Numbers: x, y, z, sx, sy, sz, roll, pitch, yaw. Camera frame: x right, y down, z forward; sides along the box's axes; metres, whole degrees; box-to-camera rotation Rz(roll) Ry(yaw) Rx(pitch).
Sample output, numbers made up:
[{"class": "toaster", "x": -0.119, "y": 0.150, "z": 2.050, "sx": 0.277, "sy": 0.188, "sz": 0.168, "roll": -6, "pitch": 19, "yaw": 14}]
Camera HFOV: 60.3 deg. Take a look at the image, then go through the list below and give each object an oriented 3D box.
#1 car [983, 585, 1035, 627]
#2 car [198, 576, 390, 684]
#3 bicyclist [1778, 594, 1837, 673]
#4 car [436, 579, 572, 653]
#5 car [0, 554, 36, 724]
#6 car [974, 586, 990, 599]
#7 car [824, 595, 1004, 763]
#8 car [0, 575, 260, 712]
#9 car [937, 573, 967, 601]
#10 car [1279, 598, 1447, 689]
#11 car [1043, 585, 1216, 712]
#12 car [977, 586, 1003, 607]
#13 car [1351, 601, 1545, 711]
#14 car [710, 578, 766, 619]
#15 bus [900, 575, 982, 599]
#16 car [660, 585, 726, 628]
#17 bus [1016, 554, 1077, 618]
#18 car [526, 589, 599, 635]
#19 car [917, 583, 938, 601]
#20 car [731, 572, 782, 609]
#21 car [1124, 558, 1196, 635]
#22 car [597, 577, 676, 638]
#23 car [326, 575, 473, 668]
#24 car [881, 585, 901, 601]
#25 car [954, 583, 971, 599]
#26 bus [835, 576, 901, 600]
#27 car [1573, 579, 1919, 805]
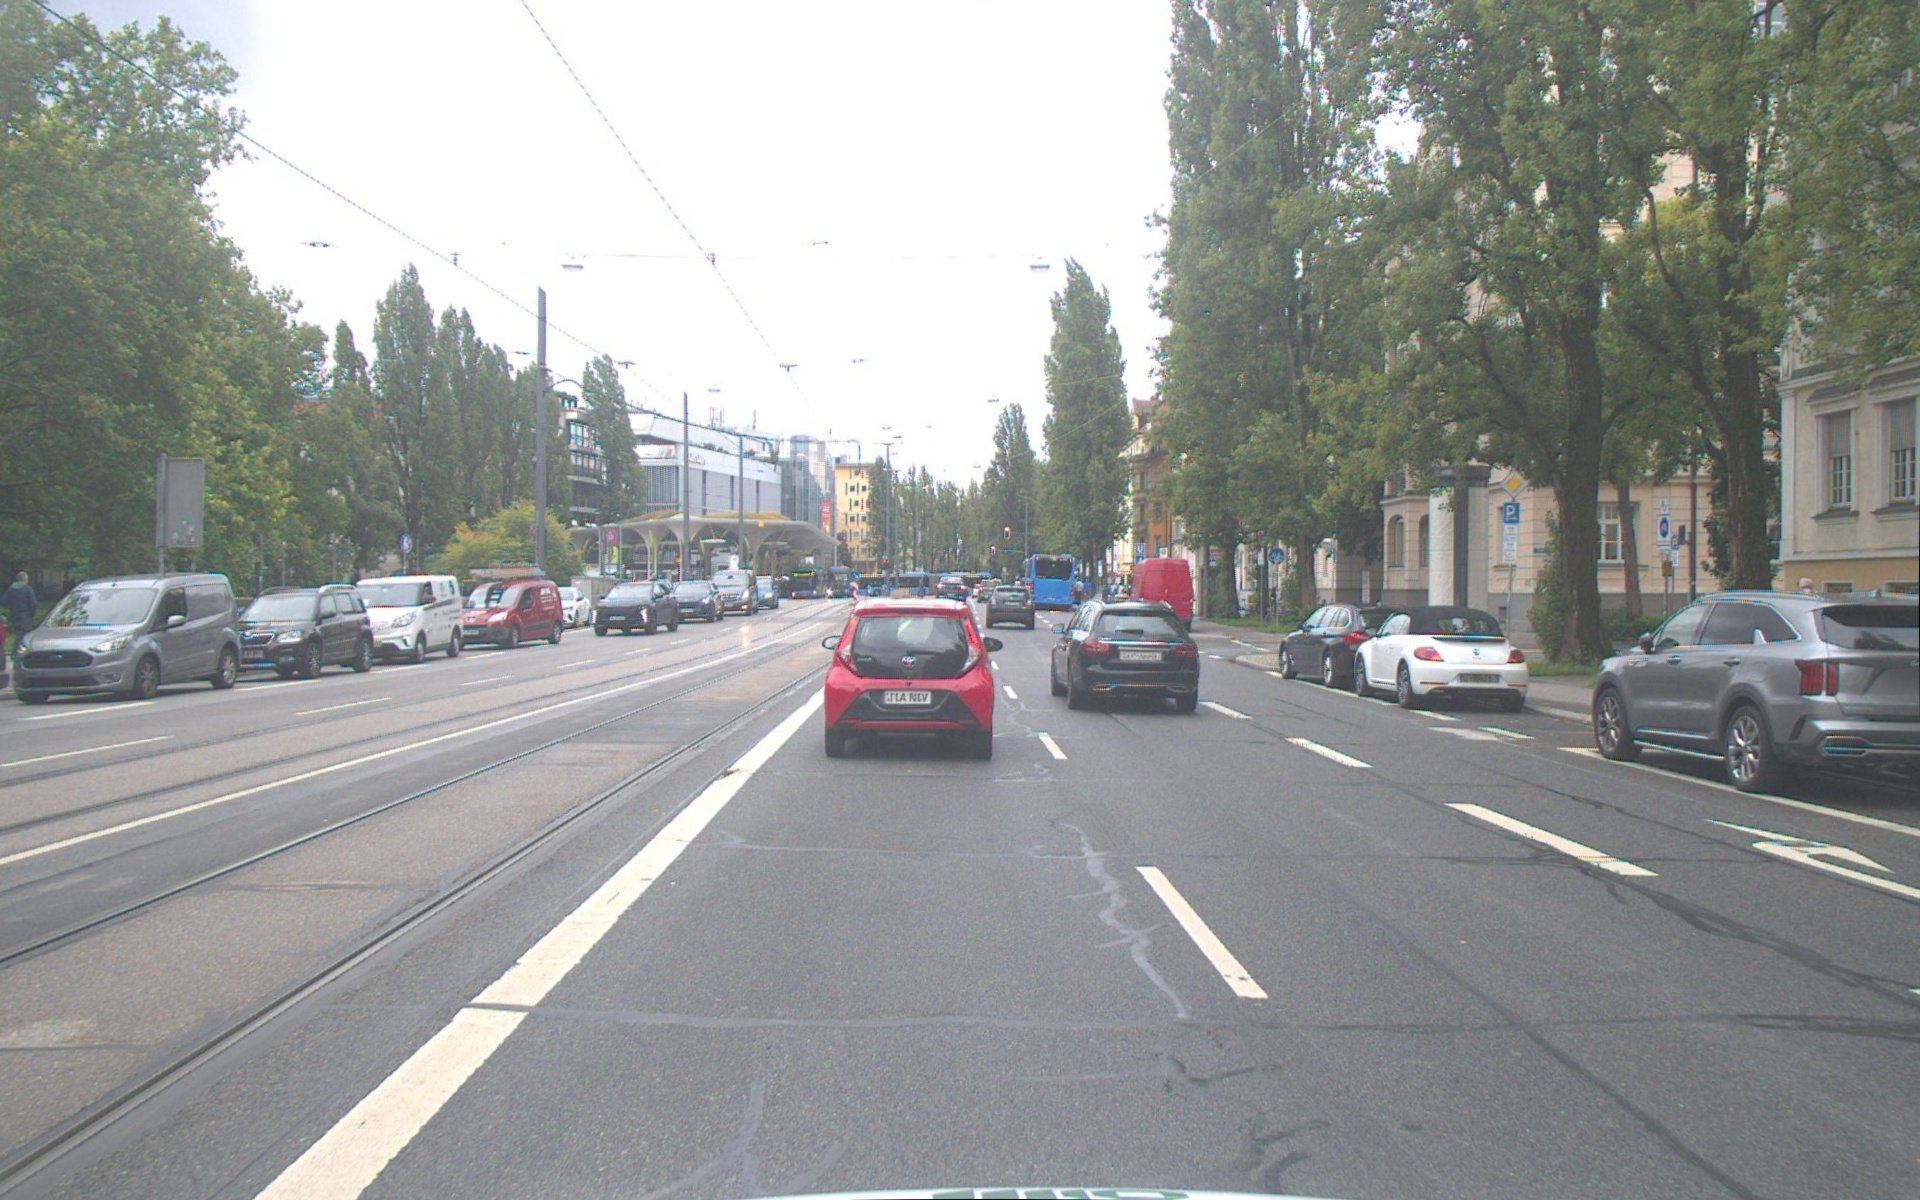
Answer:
[{"class": "car", "x": 1.768, "y": 0.203, "z": 60.864, "sx": 1.744, "sy": 1.512, "sz": 3.999, "roll": 0, "pitch": 0, "yaw": -1}, {"class": "car", "x": -12.342, "y": 0.517, "z": 30.979, "sx": 1.763, "sy": 1.819, "sz": 4.518, "roll": -2, "pitch": 0, "yaw": -1}, {"class": "bicyclist", "x": 14.717, "y": 0.576, "z": 28.738, "sx": 0.647, "sy": 1.337, "sz": 0.705, "roll": 0, "pitch": 0, "yaw": -3}, {"class": "car", "x": -12.118, "y": 0.383, "z": 44.262, "sx": 1.761, "sy": 1.819, "sz": 4.523, "roll": -2, "pitch": 0, "yaw": 9}, {"class": "car", "x": -12.277, "y": 0.479, "z": 17.898, "sx": 1.763, "sy": 2.025, "sz": 5.038, "roll": -1, "pitch": 0, "yaw": -1}, {"class": "car", "x": 2.519, "y": -0.890, "z": 191.211, "sx": 1.744, "sy": 1.512, "sz": 3.999, "roll": 0, "pitch": 0, "yaw": -1}, {"class": "car", "x": -0.506, "y": 0.710, "z": 16.577, "sx": 1.596, "sy": 1.465, "sz": 3.374, "roll": 1, "pitch": 0, "yaw": -3}, {"class": "car", "x": -12.450, "y": 0.592, "z": 25.062, "sx": 1.763, "sy": 1.819, "sz": 4.518, "roll": -2, "pitch": 0, "yaw": -1}, {"class": "car", "x": -0.493, "y": -0.771, "z": 98.800, "sx": 1.700, "sy": 1.576, "sz": 4.575, "roll": 0, "pitch": 0, "yaw": -1}, {"class": "car", "x": 7.316, "y": 0.743, "z": 30.506, "sx": 1.764, "sy": 1.534, "sz": 4.447, "roll": 0, "pitch": 0, "yaw": -4}, {"class": "car", "x": 2.307, "y": 0.608, "z": 23.721, "sx": 1.826, "sy": 1.576, "sz": 4.702, "roll": 0, "pitch": 1, "yaw": -2}, {"class": "car", "x": 2.116, "y": -0.266, "z": 118.275, "sx": 1.744, "sy": 1.512, "sz": 3.999, "roll": 0, "pitch": 0, "yaw": -1}, {"class": "car", "x": 7.390, "y": 0.793, "z": 25.427, "sx": 1.763, "sy": 1.534, "sz": 3.999, "roll": 0, "pitch": 0, "yaw": -1}, {"class": "car", "x": -9.616, "y": -0.073, "z": 71.947, "sx": 1.762, "sy": 1.694, "sz": 4.519, "roll": -2, "pitch": 0, "yaw": 0}, {"class": "bus", "x": -2.406, "y": -1.664, "z": 211.548, "sx": 10.348, "sy": 2.895, "sz": 1.999, "roll": 0, "pitch": 2, "yaw": -5}, {"class": "car", "x": -10.278, "y": 0.228, "z": 64.037, "sx": 1.762, "sy": 1.557, "sz": 4.519, "roll": -2, "pitch": 0, "yaw": 0}, {"class": "bus", "x": 4.992, "y": -0.922, "z": 97.477, "sx": 2.847, "sy": 3.455, "sz": 10.806, "roll": 1, "pitch": 2, "yaw": -1}, {"class": "car", "x": -14.419, "y": 0.402, "z": 60.220, "sx": 1.764, "sy": 1.557, "sz": 4.516, "roll": -2, "pitch": 0, "yaw": -3}, {"class": "car", "x": -2.750, "y": -0.666, "z": 140.425, "sx": 1.744, "sy": 1.512, "sz": 3.999, "roll": 0, "pitch": 0, "yaw": -1}, {"class": "car", "x": -10.046, "y": -0.464, "z": 81.986, "sx": 1.762, "sy": 1.694, "sz": 4.520, "roll": -2, "pitch": 0, "yaw": 2}, {"class": "car", "x": 7.225, "y": -0.173, "z": 60.203, "sx": 1.953, "sy": 2.619, "sz": 4.680, "roll": 1, "pitch": 2, "yaw": -1}, {"class": "car", "x": -10.305, "y": 0.220, "z": 52.938, "sx": 1.763, "sy": 1.819, "sz": 4.517, "roll": -2, "pitch": 0, "yaw": -2}, {"class": "car", "x": -12.487, "y": 0.449, "z": 37.166, "sx": 1.763, "sy": 1.894, "sz": 4.629, "roll": -2, "pitch": 0, "yaw": -1}, {"class": "car", "x": -6.415, "y": -0.643, "z": 154.594, "sx": 1.744, "sy": 1.512, "sz": 3.999, "roll": 0, "pitch": 0, "yaw": -1}, {"class": "car", "x": 0.331, "y": -0.988, "z": 189.282, "sx": 1.766, "sy": 1.624, "sz": 4.001, "roll": 1, "pitch": -3, "yaw": 3}, {"class": "bus", "x": -11.776, "y": -1.566, "z": 210.753, "sx": 8.301, "sy": 2.895, "sz": 1.999, "roll": 0, "pitch": 2, "yaw": -5}, {"class": "car", "x": 7.521, "y": 0.708, "z": 15.374, "sx": 1.763, "sy": 1.773, "sz": 4.699, "roll": 0, "pitch": 0, "yaw": -2}]
